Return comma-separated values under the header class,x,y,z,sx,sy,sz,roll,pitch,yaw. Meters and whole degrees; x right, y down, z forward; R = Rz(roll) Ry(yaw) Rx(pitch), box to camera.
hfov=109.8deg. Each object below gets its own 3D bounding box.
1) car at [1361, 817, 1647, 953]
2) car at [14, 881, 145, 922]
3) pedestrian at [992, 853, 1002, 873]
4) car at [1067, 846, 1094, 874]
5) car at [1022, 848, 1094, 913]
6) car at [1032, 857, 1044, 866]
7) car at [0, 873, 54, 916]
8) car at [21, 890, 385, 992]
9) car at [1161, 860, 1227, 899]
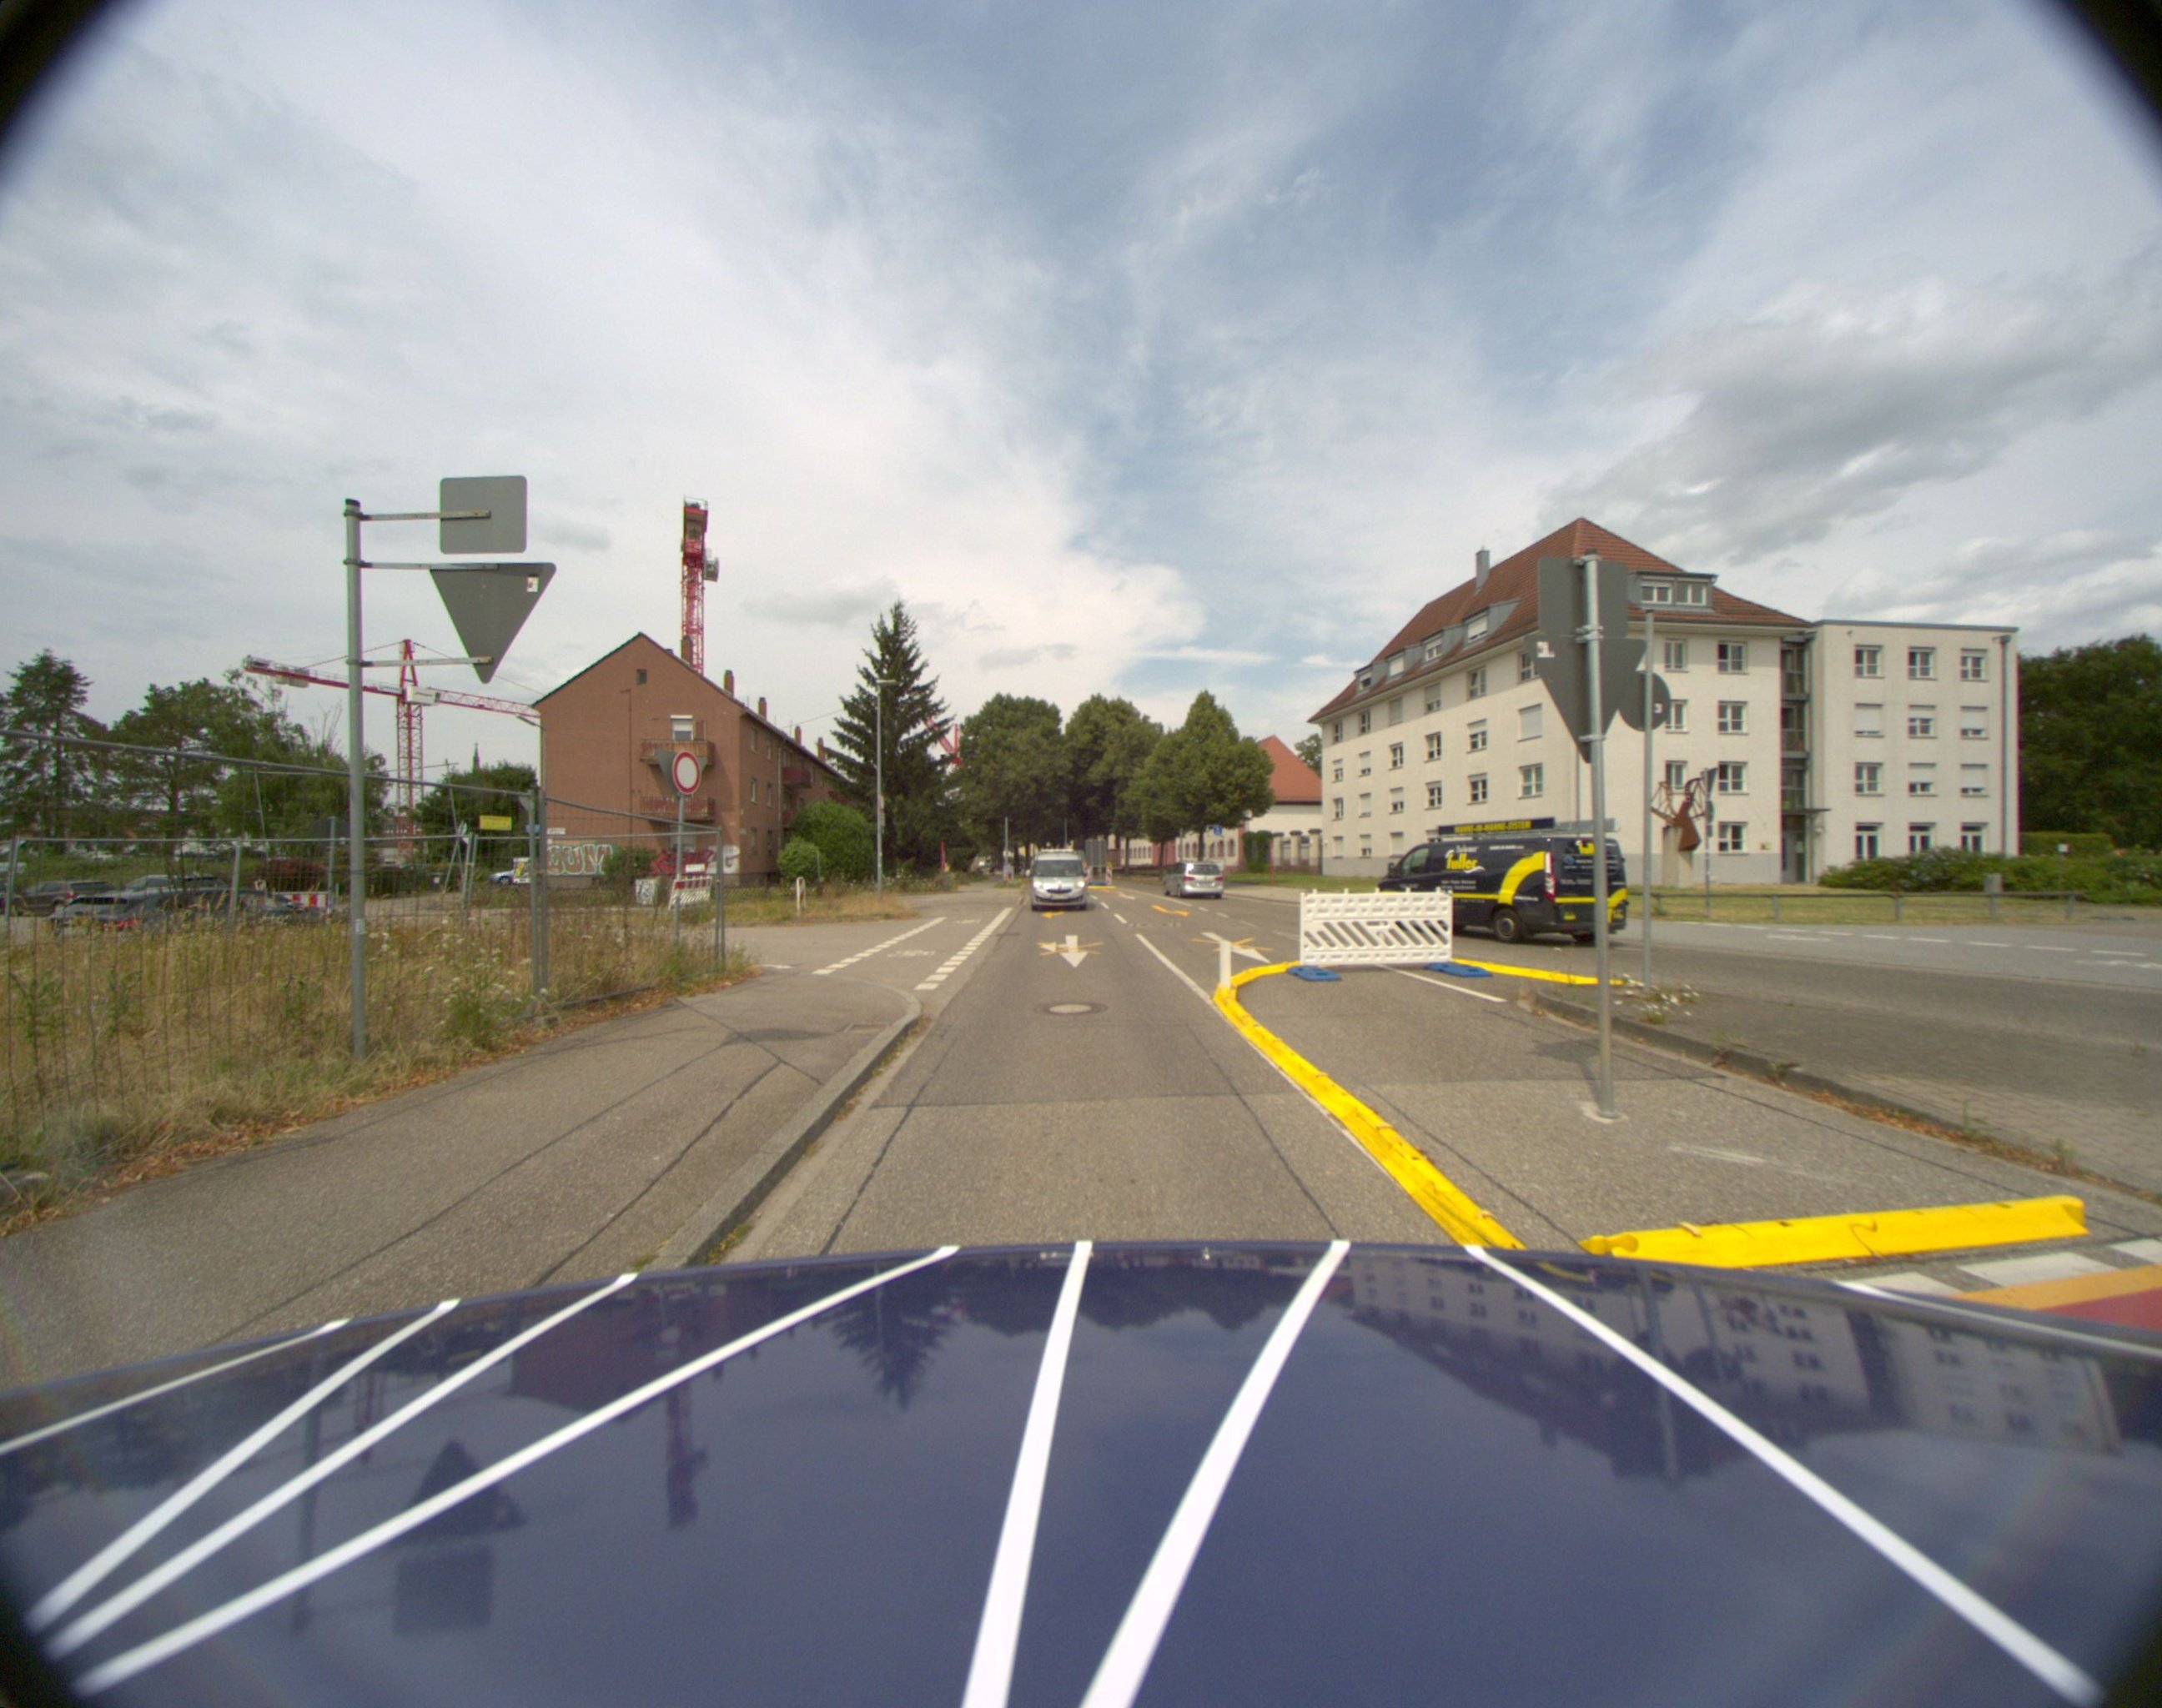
class,x,y,z,sx,sy,sz,roll,pitch,yaw
car,8.122,0.534,15.328,2.001,2.259,5.153,-1,0,-15
car,-41.685,1.954,31.650,4.006,1.593,1.804,-1,0,13
pedestrian,-8.714,0.920,78.995,0.856,2.002,0.731,-1,0,-17
car,-0.089,0.576,76.156,2.071,2.670,5.967,-1,0,-7
car,-0.868,0.805,25.323,1.811,1.936,4.580,-1,0,-9
car,-6.480,1.094,115.212,1.677,1.402,3.918,-1,0,-5
car,-46.725,1.738,32.458,4.006,1.739,1.859,-1,0,12
car,-16.184,1.515,14.431,1.765,1.465,4.261,-1,0,5
car,4.981,1.083,34.278,1.801,1.613,4.745,-1,0,-6
